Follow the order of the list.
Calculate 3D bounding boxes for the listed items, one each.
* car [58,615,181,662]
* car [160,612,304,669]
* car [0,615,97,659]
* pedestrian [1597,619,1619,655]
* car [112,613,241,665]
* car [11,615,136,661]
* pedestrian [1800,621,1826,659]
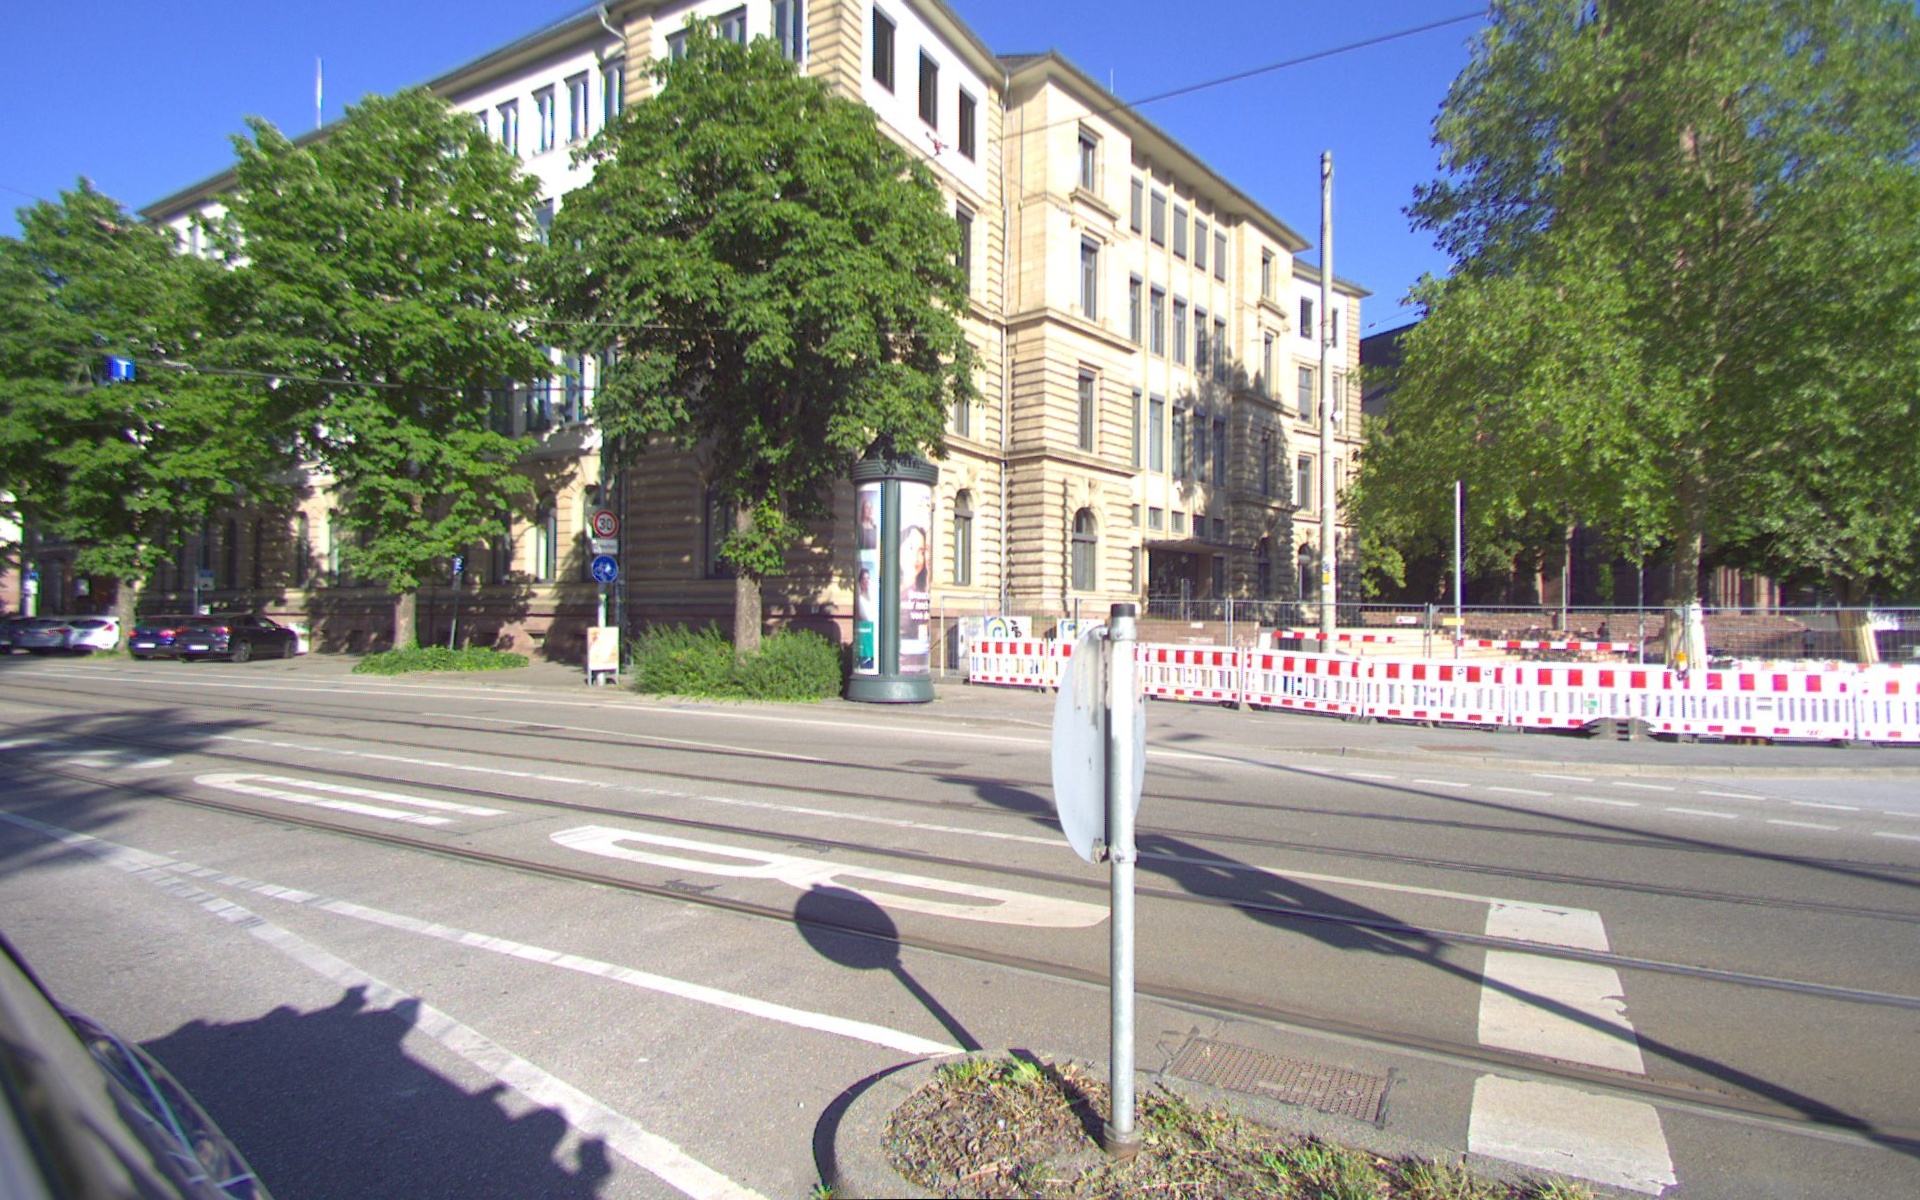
[{"bbox_3d":[-30.917,1.375,37.357,1.626,1.572,3.652,-1,0,-3],"label":"car"},{"bbox_3d":[-23.616,1.262,33.039,1.819,1.643,4.184,-1,0,-3],"label":"car"},{"bbox_3d":[-36.245,1.415,39.777,1.626,1.572,3.652,-1,0,-3],"label":"car"},{"bbox_3d":[30.538,1.727,47.702,0.627,1.660,0.677,1,-2,-37],"label":"pedestrian"},{"bbox_3d":[-26.246,1.272,34.041,1.626,1.572,3.652,-1,0,-3],"label":"car"},{"bbox_3d":[-33.229,1.393,38.068,1.626,1.572,3.652,-1,0,-3],"label":"car"},{"bbox_3d":[36.954,1.723,43.845,0.666,1.660,0.762,1,-2,-45],"label":"pedestrian"}]
